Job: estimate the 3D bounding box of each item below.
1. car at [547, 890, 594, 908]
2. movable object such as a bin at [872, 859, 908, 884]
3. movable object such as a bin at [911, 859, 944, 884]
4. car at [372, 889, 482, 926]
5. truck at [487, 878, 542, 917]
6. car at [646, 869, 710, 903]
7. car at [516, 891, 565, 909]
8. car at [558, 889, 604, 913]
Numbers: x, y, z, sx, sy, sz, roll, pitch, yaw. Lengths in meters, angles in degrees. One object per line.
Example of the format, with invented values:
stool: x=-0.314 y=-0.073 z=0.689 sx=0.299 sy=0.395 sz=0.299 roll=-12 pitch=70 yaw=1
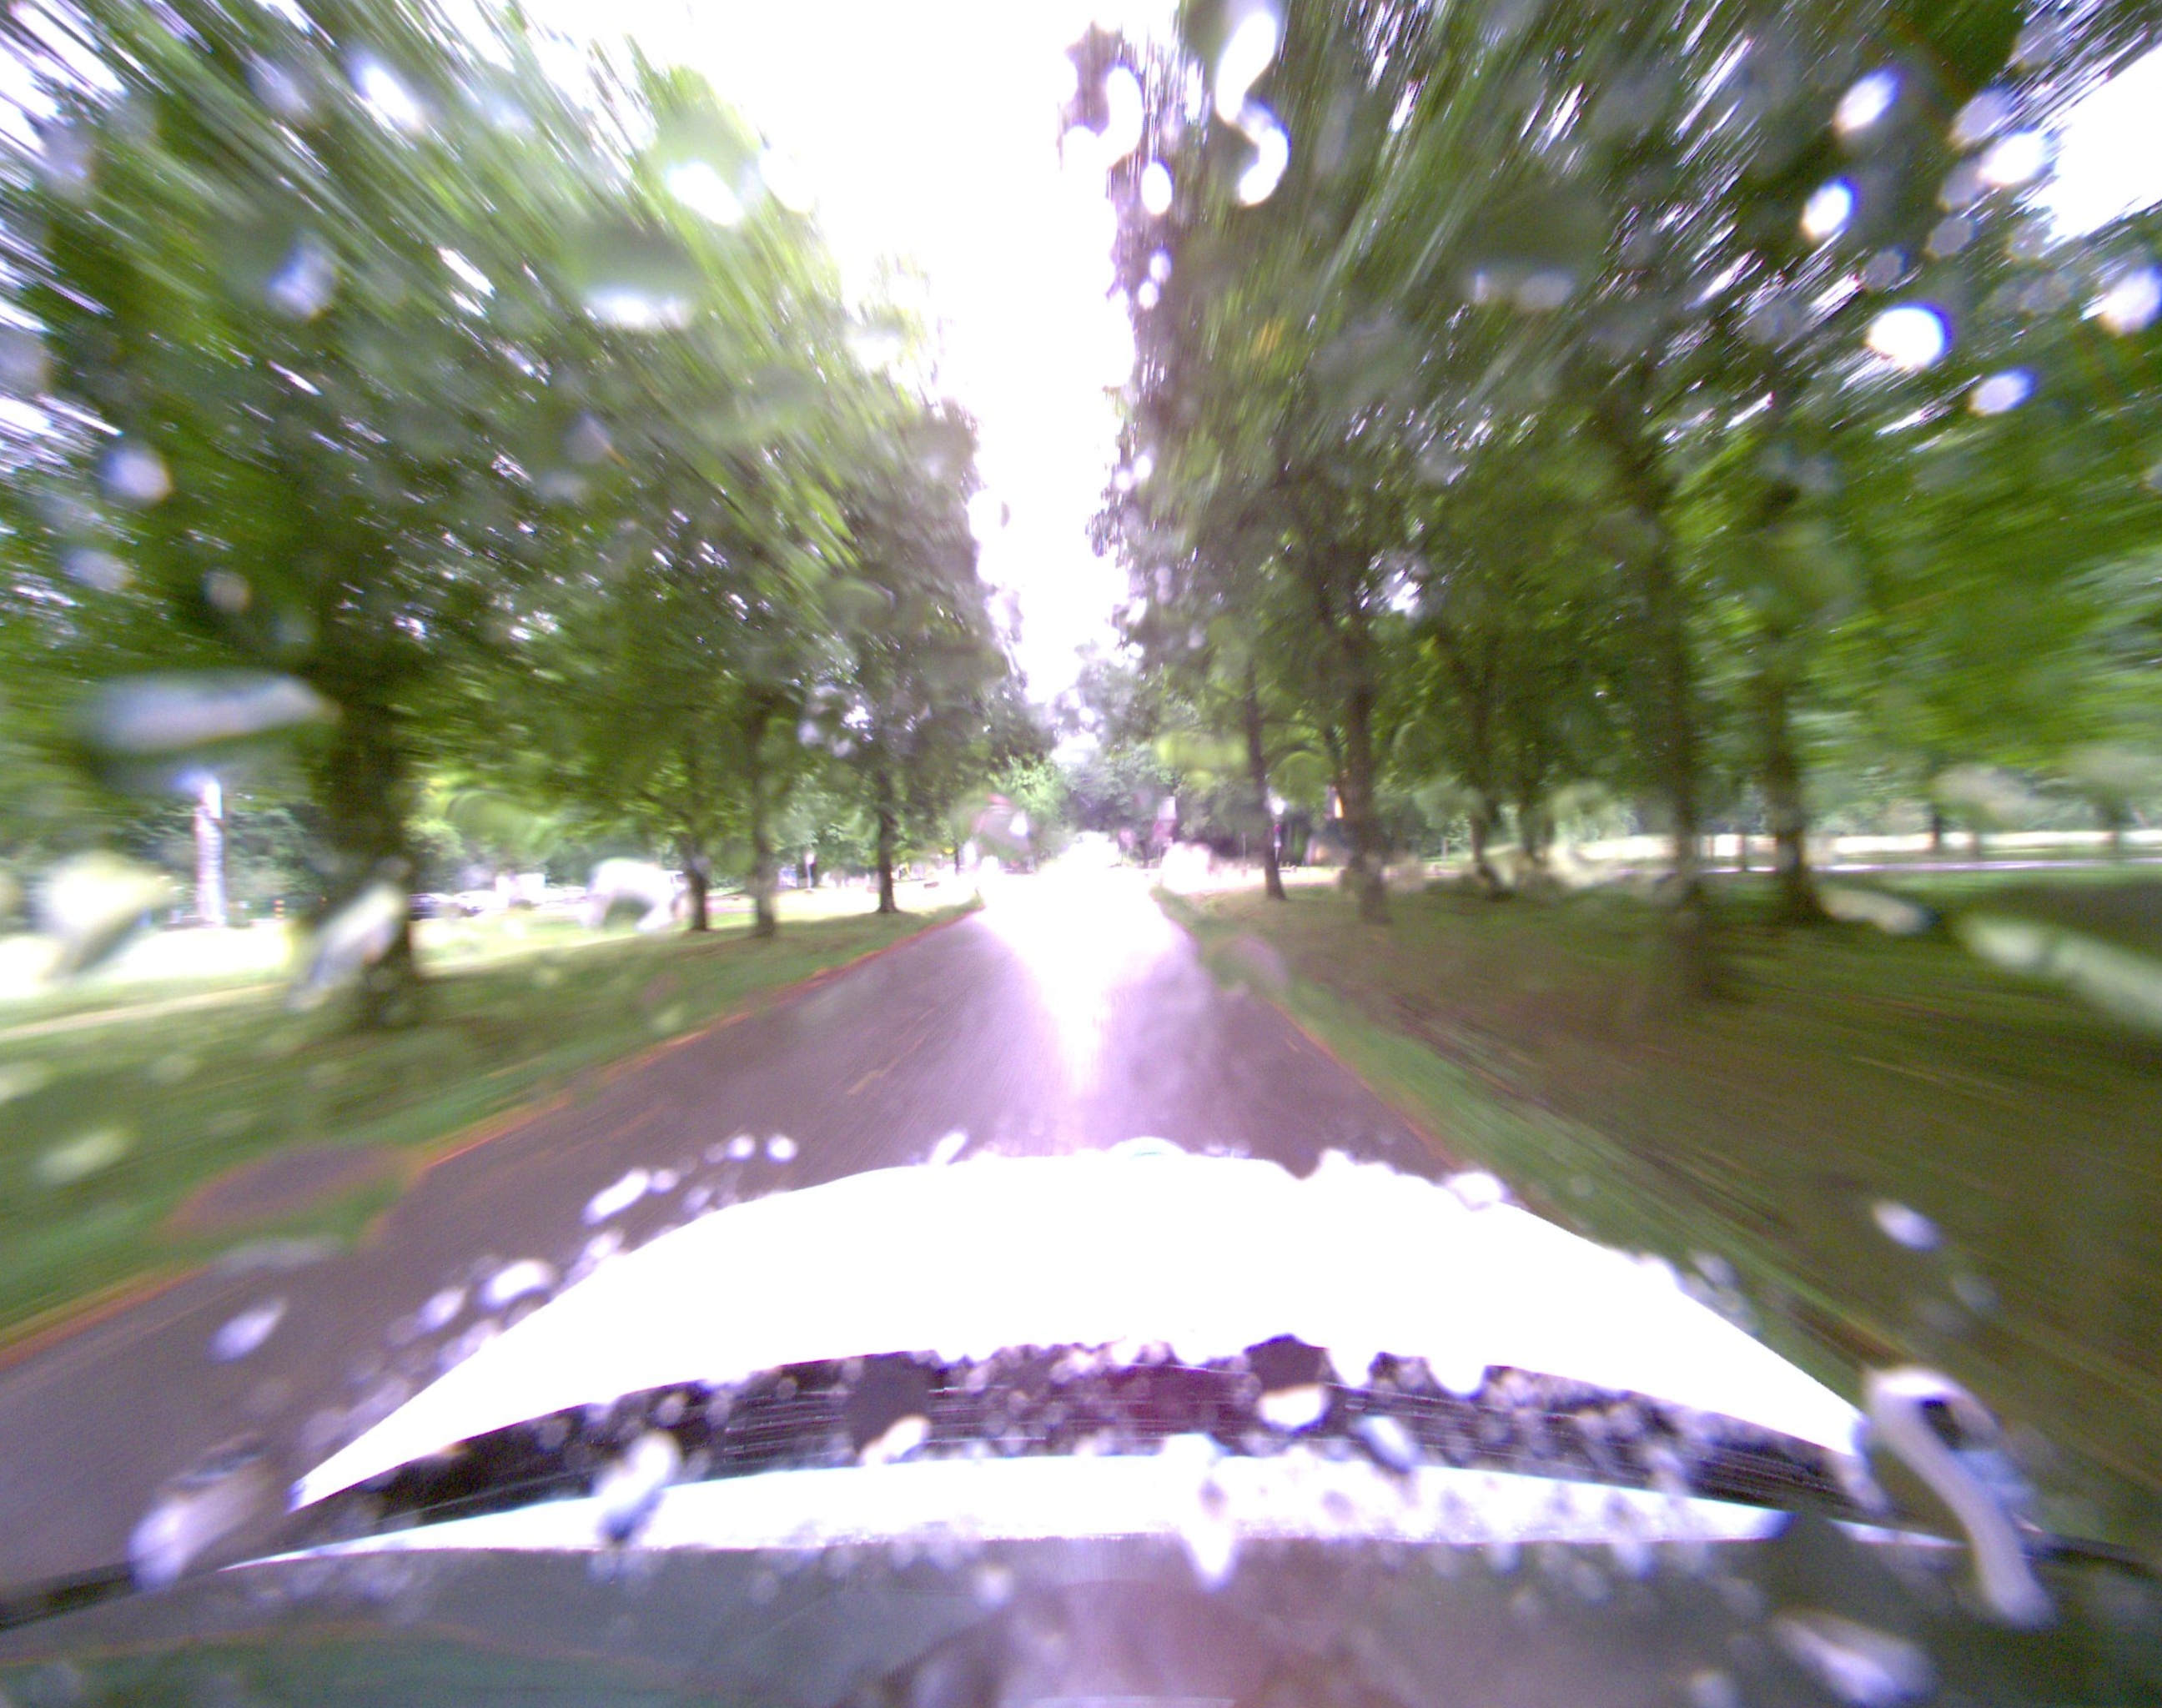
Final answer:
car: x=-52.323 y=4.613 z=83.416 sx=3.953 sy=1.585 sz=2.010 roll=-3 pitch=0 yaw=20
movable object such as a bin: x=-27.238 y=2.541 z=116.466 sx=4.655 sy=3.294 sz=3.900 roll=-3 pitch=-1 yaw=-10
movable object such as a bin: x=-22.203 y=2.498 z=118.058 sx=4.582 sy=3.294 sz=3.653 roll=-3 pitch=-1 yaw=-10
car: x=-37.736 y=3.071 z=47.126 sx=4.568 sy=1.708 sz=1.723 roll=-4 pitch=0 yaw=-15
truck: x=-38.980 y=2.954 z=56.112 sx=1.872 sy=2.442 sz=3.334 roll=-3 pitch=0 yaw=-13
car: x=-30.828 y=2.465 z=62.231 sx=5.907 sy=2.408 sz=2.407 roll=-4 pitch=-3 yaw=42
car: x=-53.620 y=4.583 z=80.843 sx=3.953 sy=1.585 sz=2.010 roll=-3 pitch=0 yaw=20
car: x=-35.518 y=3.320 z=57.962 sx=1.767 sy=1.429 sz=4.082 roll=-3 pitch=-1 yaw=-17
